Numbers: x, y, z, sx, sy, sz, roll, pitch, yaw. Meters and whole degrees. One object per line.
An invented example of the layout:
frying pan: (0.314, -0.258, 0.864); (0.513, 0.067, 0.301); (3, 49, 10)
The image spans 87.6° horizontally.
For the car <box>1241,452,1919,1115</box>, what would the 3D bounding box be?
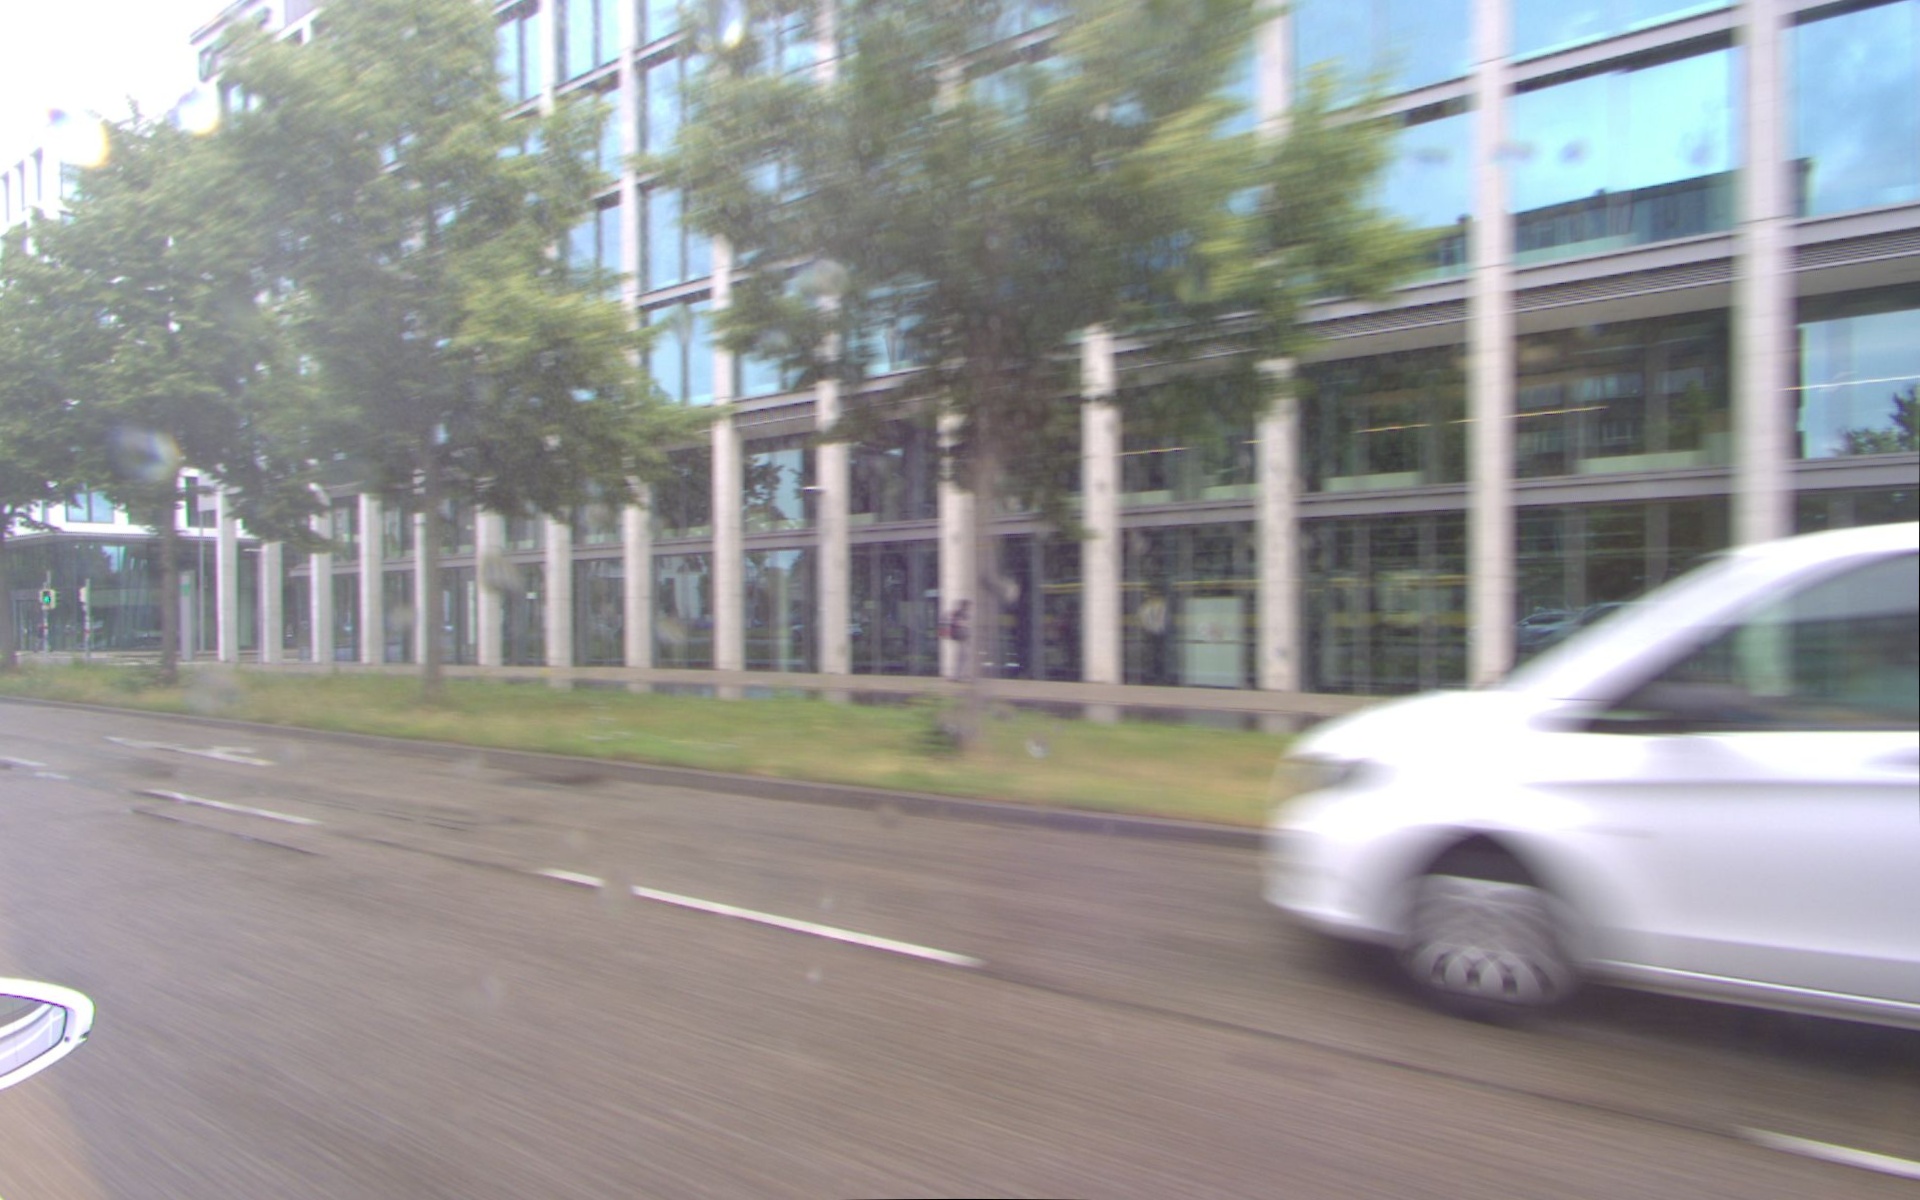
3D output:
car: (3.800, 0.569, 3.612); (5.022, 2.004, 1.963); (-1, -2, 34)

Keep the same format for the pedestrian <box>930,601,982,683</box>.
pedestrian: (-0.075, 0.913, 21.930); (0.849, 1.737, 0.715); (-1, 1, 31)

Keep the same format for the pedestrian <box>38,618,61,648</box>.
pedestrian: (-52.573, 1.894, 57.824); (0.771, 1.729, 0.678); (0, -1, -20)
